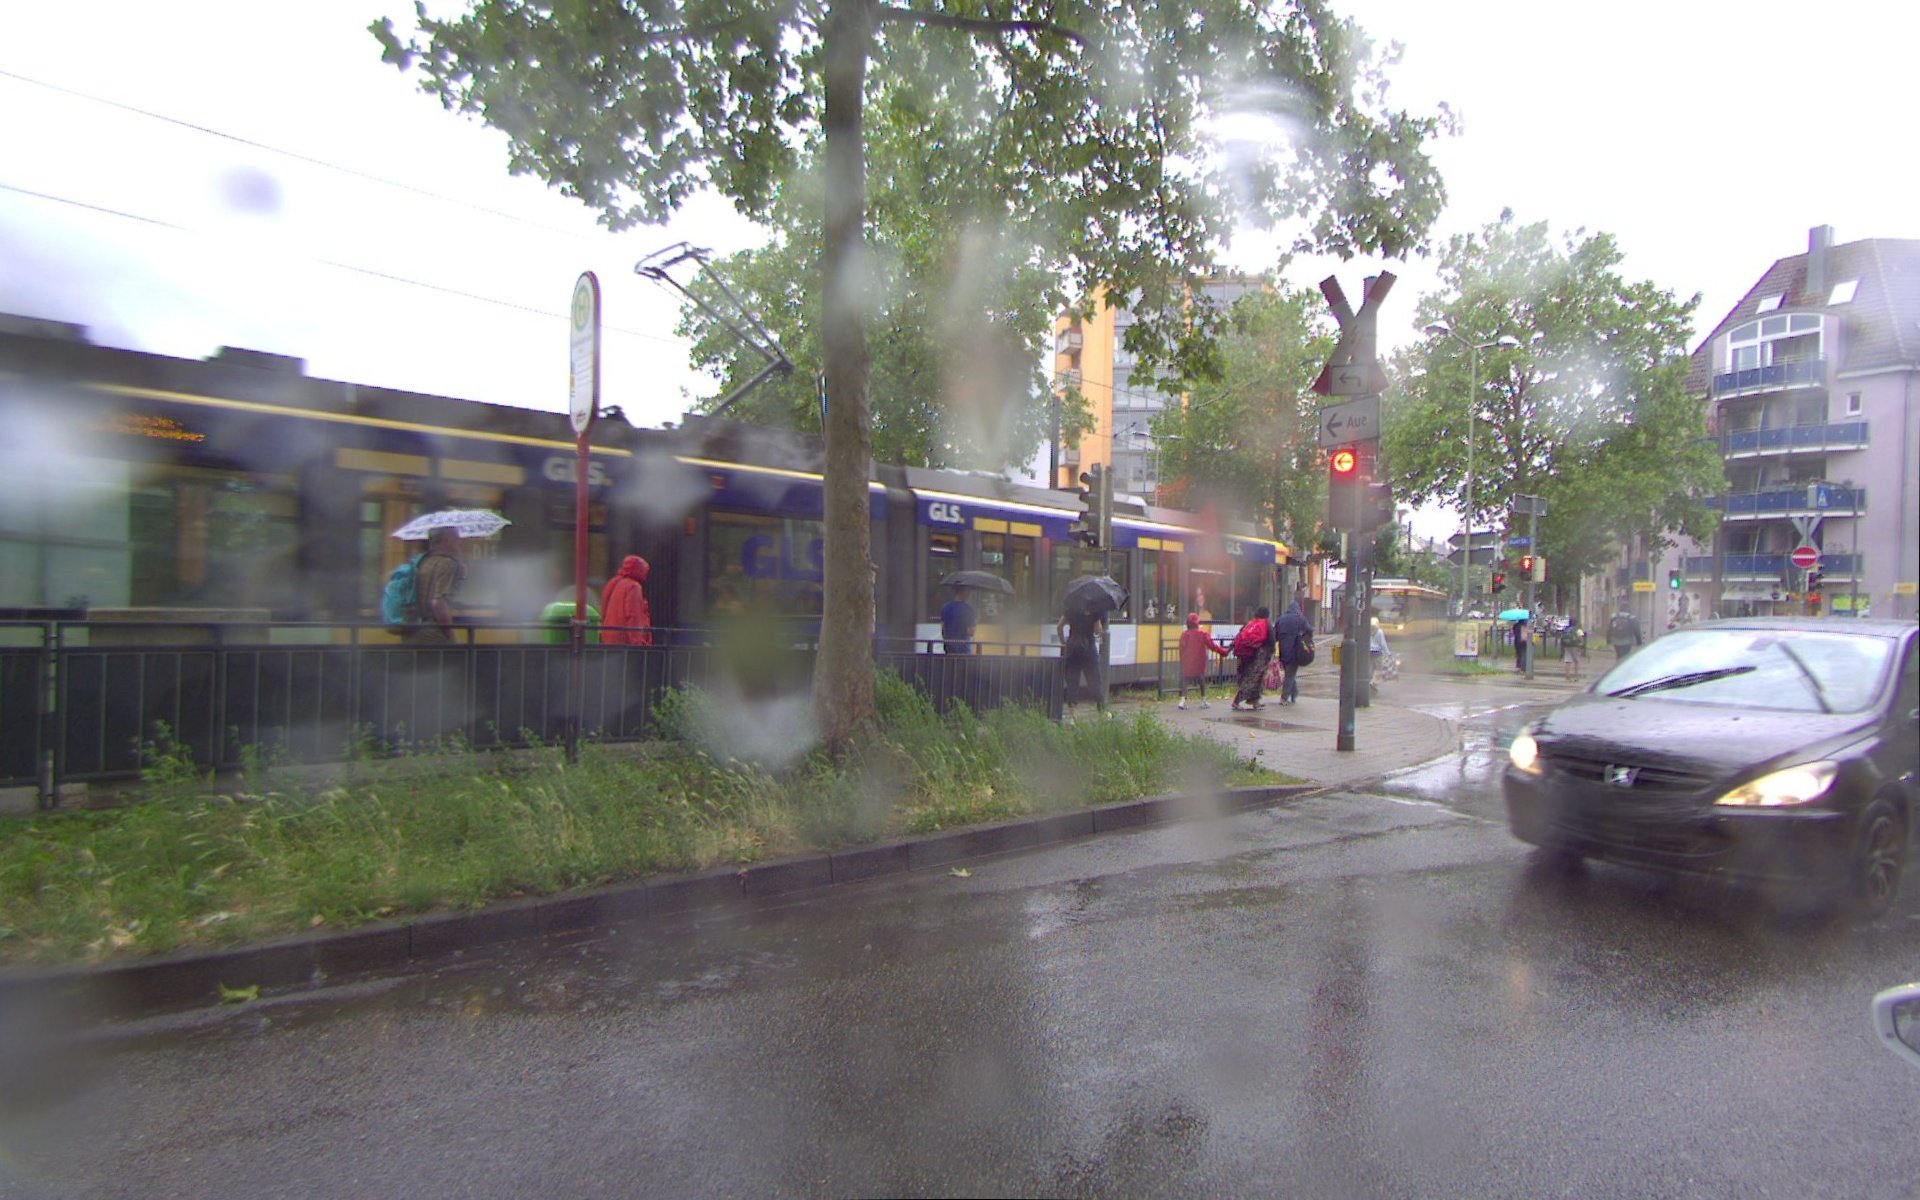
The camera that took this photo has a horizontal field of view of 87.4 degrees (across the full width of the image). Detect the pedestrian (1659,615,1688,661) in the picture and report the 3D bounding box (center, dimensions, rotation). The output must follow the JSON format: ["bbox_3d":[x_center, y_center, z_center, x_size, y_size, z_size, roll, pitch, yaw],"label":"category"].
[{"bbox_3d":[25.801,1.366,36.334,0.666,1.622,0.962,2,0,45],"label":"pedestrian"}]

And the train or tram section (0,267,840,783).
[{"bbox_3d":[-8.016,-0.549,7.706,15.259,3.593,2.834,2,0,-42],"label":"train or tram section"}]

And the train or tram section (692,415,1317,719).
[{"bbox_3d":[2.029,-0.289,17.808,2.829,3.593,13.636,2,0,43],"label":"train or tram section"}]

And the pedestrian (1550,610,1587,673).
[{"bbox_3d":[14.184,0.950,23.446,0.638,1.414,0.782,1,0,26],"label":"pedestrian"}]

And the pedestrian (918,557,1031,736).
[{"bbox_3d":[0.158,0.492,11.229,0.885,1.889,0.861,1,1,-41],"label":"pedestrian"}]

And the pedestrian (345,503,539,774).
[{"bbox_3d":[-3.912,0.263,7.584,1.068,1.851,0.974,-2,0,-41],"label":"pedestrian"}]

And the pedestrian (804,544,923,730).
[{"bbox_3d":[-0.979,0.351,10.170,0.824,1.778,0.857,1,1,-41],"label":"pedestrian"}]

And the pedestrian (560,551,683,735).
[{"bbox_3d":[-3.068,0.384,9.131,0.783,1.593,0.659,-2,0,24],"label":"pedestrian"}]

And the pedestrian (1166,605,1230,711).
[{"bbox_3d":[3.583,0.854,15.134,0.654,1.540,0.675,1,0,-42],"label":"pedestrian"}]

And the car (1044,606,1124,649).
[{"bbox_3d":[4.928,1.081,40.382,1.585,1.551,4.017,1,1,-19],"label":"car"}]

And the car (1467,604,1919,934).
[{"bbox_3d":[5.082,0.823,6.262,3.705,1.479,1.705,2,0,-31],"label":"car"}]

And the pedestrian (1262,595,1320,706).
[{"bbox_3d":[5.308,0.800,16.145,0.823,1.721,0.689,-2,0,17],"label":"pedestrian"}]

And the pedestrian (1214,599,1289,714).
[{"bbox_3d":[4.326,0.810,14.915,0.809,1.646,0.724,0,0,-37],"label":"pedestrian"}]

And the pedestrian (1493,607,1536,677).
[{"bbox_3d":[14.761,1.098,26.741,0.943,1.789,0.951,2,0,31],"label":"pedestrian"}]

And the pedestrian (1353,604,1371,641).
[{"bbox_3d":[24.104,1.323,60.199,0.871,2.179,0.910,2,0,29],"label":"pedestrian"}]

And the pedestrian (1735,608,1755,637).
[{"bbox_3d":[36.969,1.035,47.299,0.550,1.347,0.446,2,0,6],"label":"pedestrian"}]

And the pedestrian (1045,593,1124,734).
[{"bbox_3d":[1.570,0.776,12.600,0.783,1.705,0.659,-2,0,23],"label":"pedestrian"}]

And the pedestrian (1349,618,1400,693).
[{"bbox_3d":[7.911,1.039,19.175,0.704,1.367,0.650,1,1,-44],"label":"pedestrian"}]

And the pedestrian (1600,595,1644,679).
[{"bbox_3d":[15.275,0.830,23.169,0.777,1.880,0.679,2,1,37],"label":"pedestrian"}]

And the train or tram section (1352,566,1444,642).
[{"bbox_3d":[25.935,0.340,58.737,2.839,3.818,17.211,2,0,30],"label":"train or tram section"}]

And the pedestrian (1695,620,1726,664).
[{"bbox_3d":[27.183,1.517,36.378,0.785,1.553,0.743,2,0,-41],"label":"pedestrian"}]
